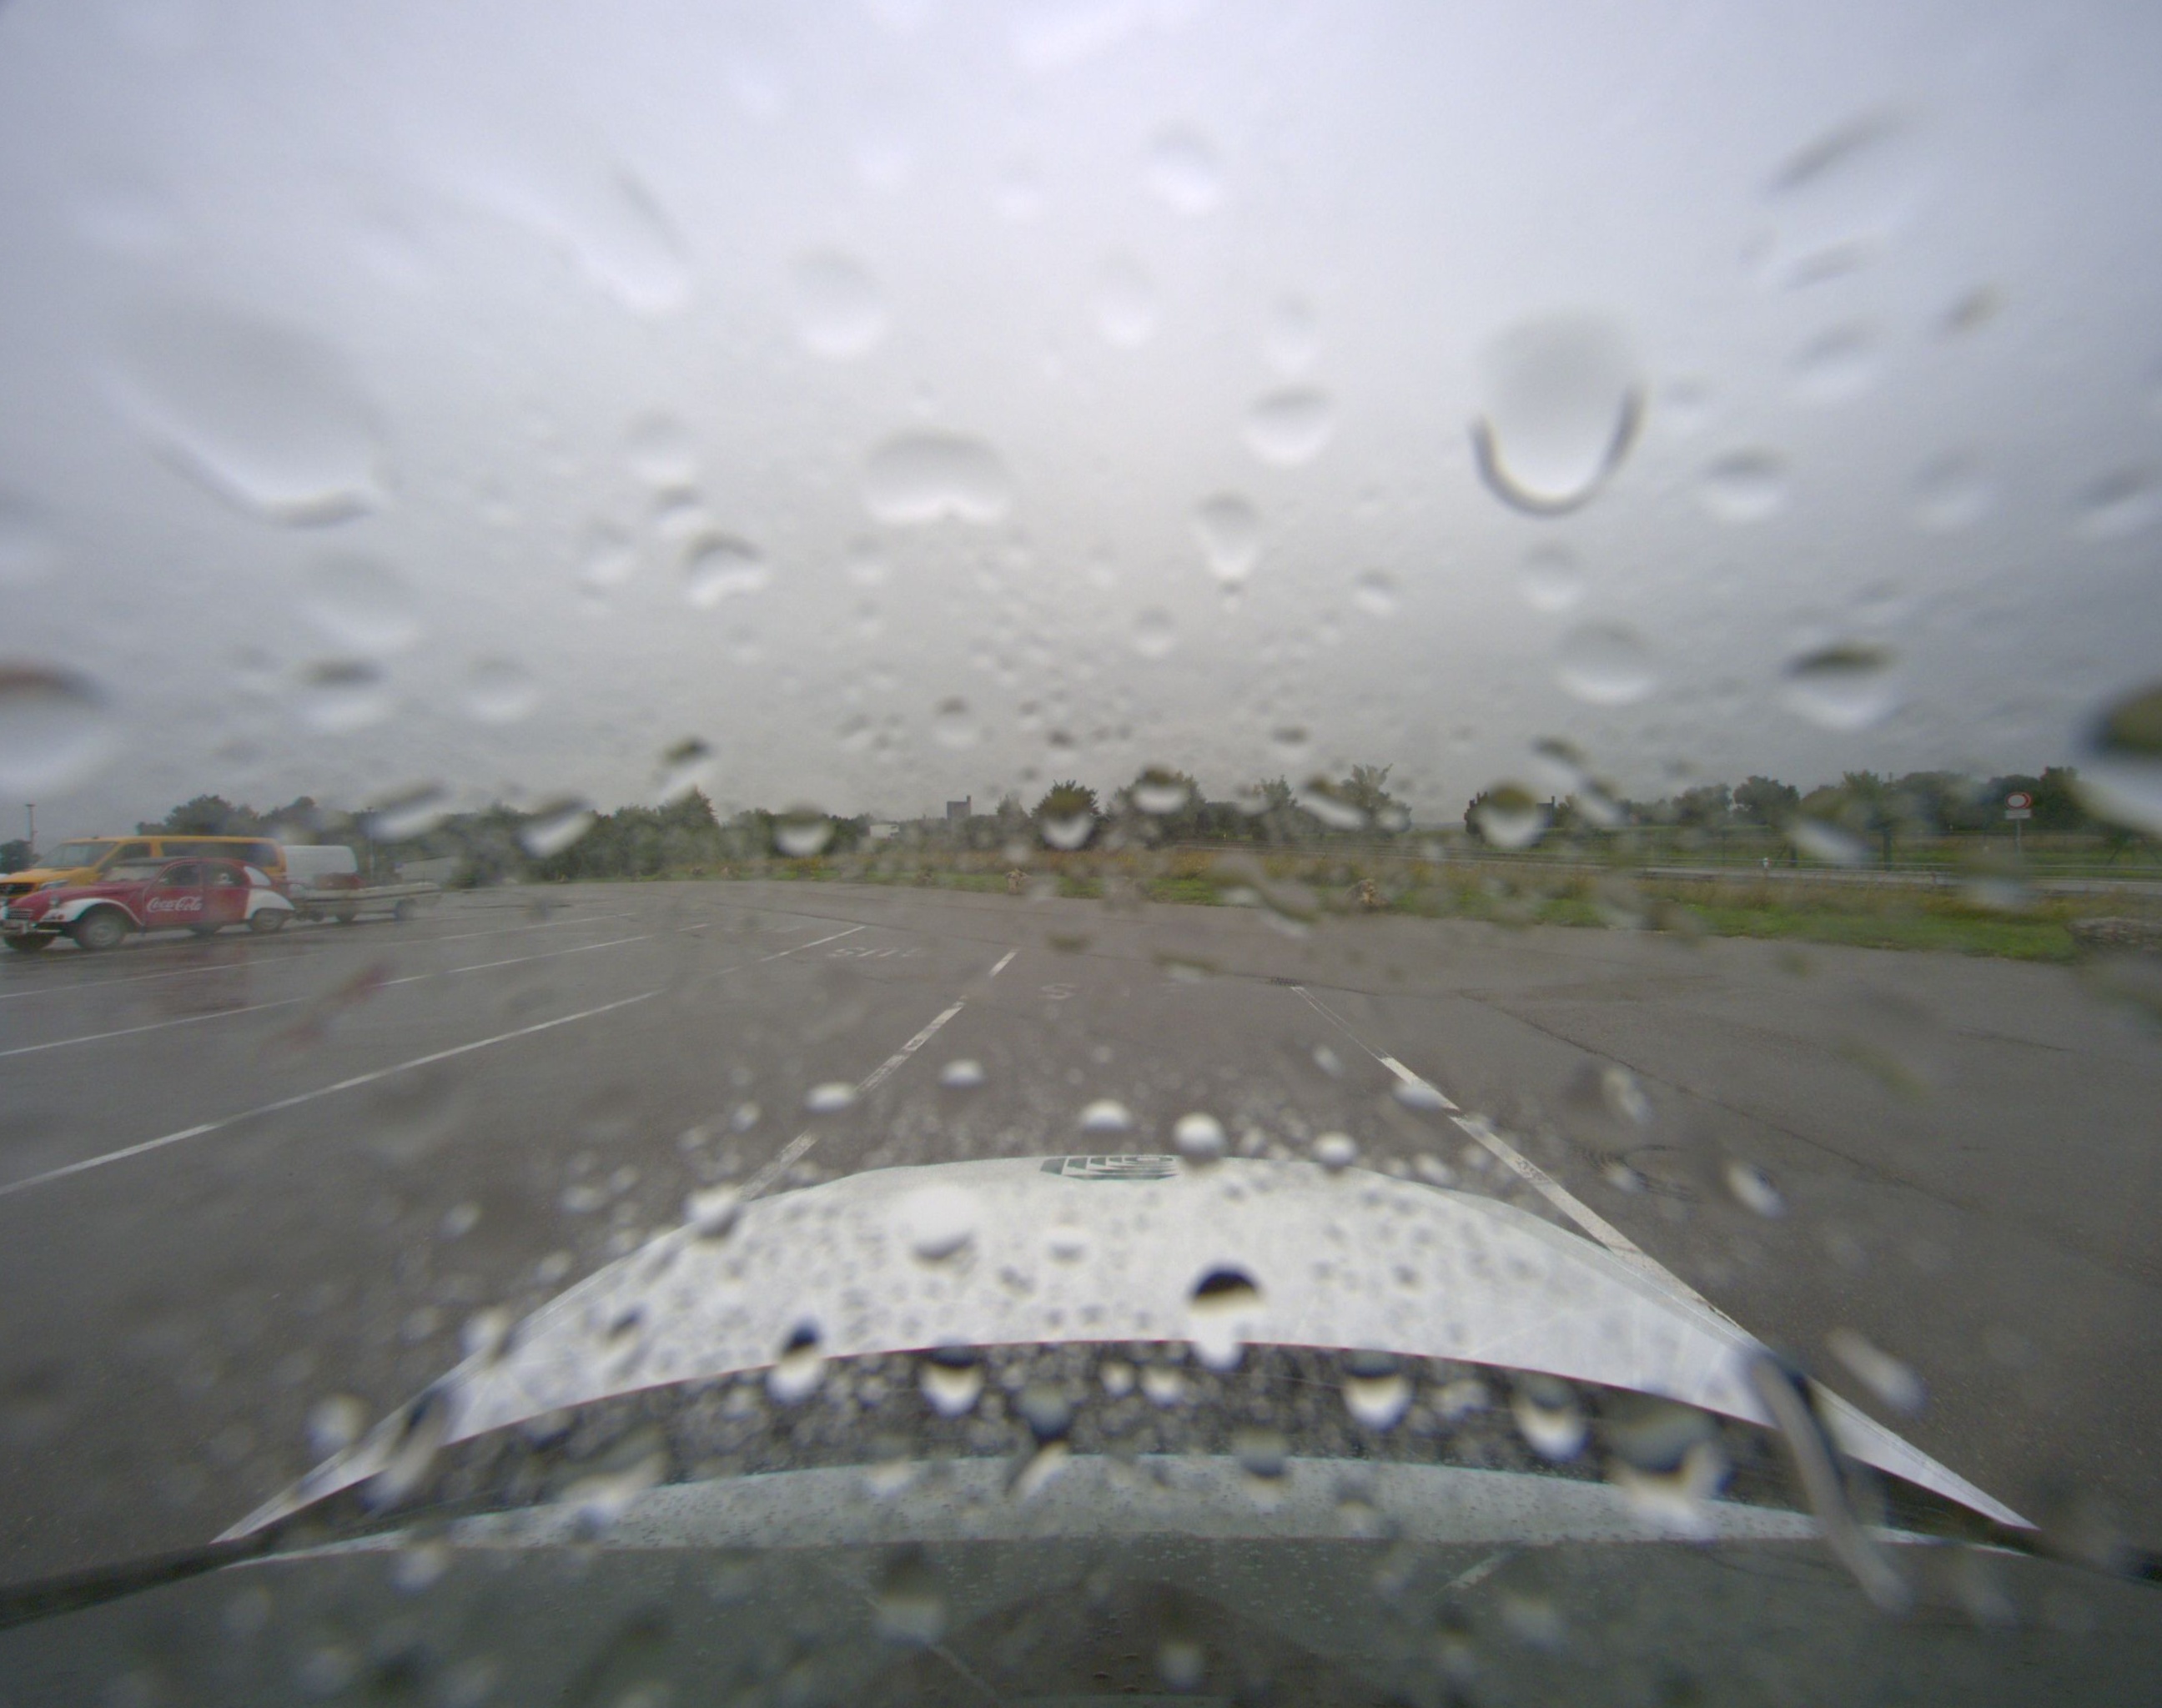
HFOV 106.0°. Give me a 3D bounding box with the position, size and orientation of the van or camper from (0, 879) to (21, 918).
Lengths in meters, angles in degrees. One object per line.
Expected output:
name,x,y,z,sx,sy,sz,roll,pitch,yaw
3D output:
van or camper,-62.448,2.554,46.565,3.948,2.166,2.013,-2,0,35

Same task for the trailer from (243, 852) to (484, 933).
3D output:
trailer,-16.117,0.777,18.623,1.687,1.532,4.006,-2,1,5

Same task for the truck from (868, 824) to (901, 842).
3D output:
truck,-38.514,-4.046,159.382,2.764,3.391,7.969,-1,1,-43

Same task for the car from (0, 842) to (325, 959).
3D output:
car,-16.493,0.715,14.626,1.813,1.777,4.006,-2,0,5

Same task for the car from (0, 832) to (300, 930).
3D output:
car,-26.524,0.688,23.437,1.986,2.379,6.029,-3,0,2
